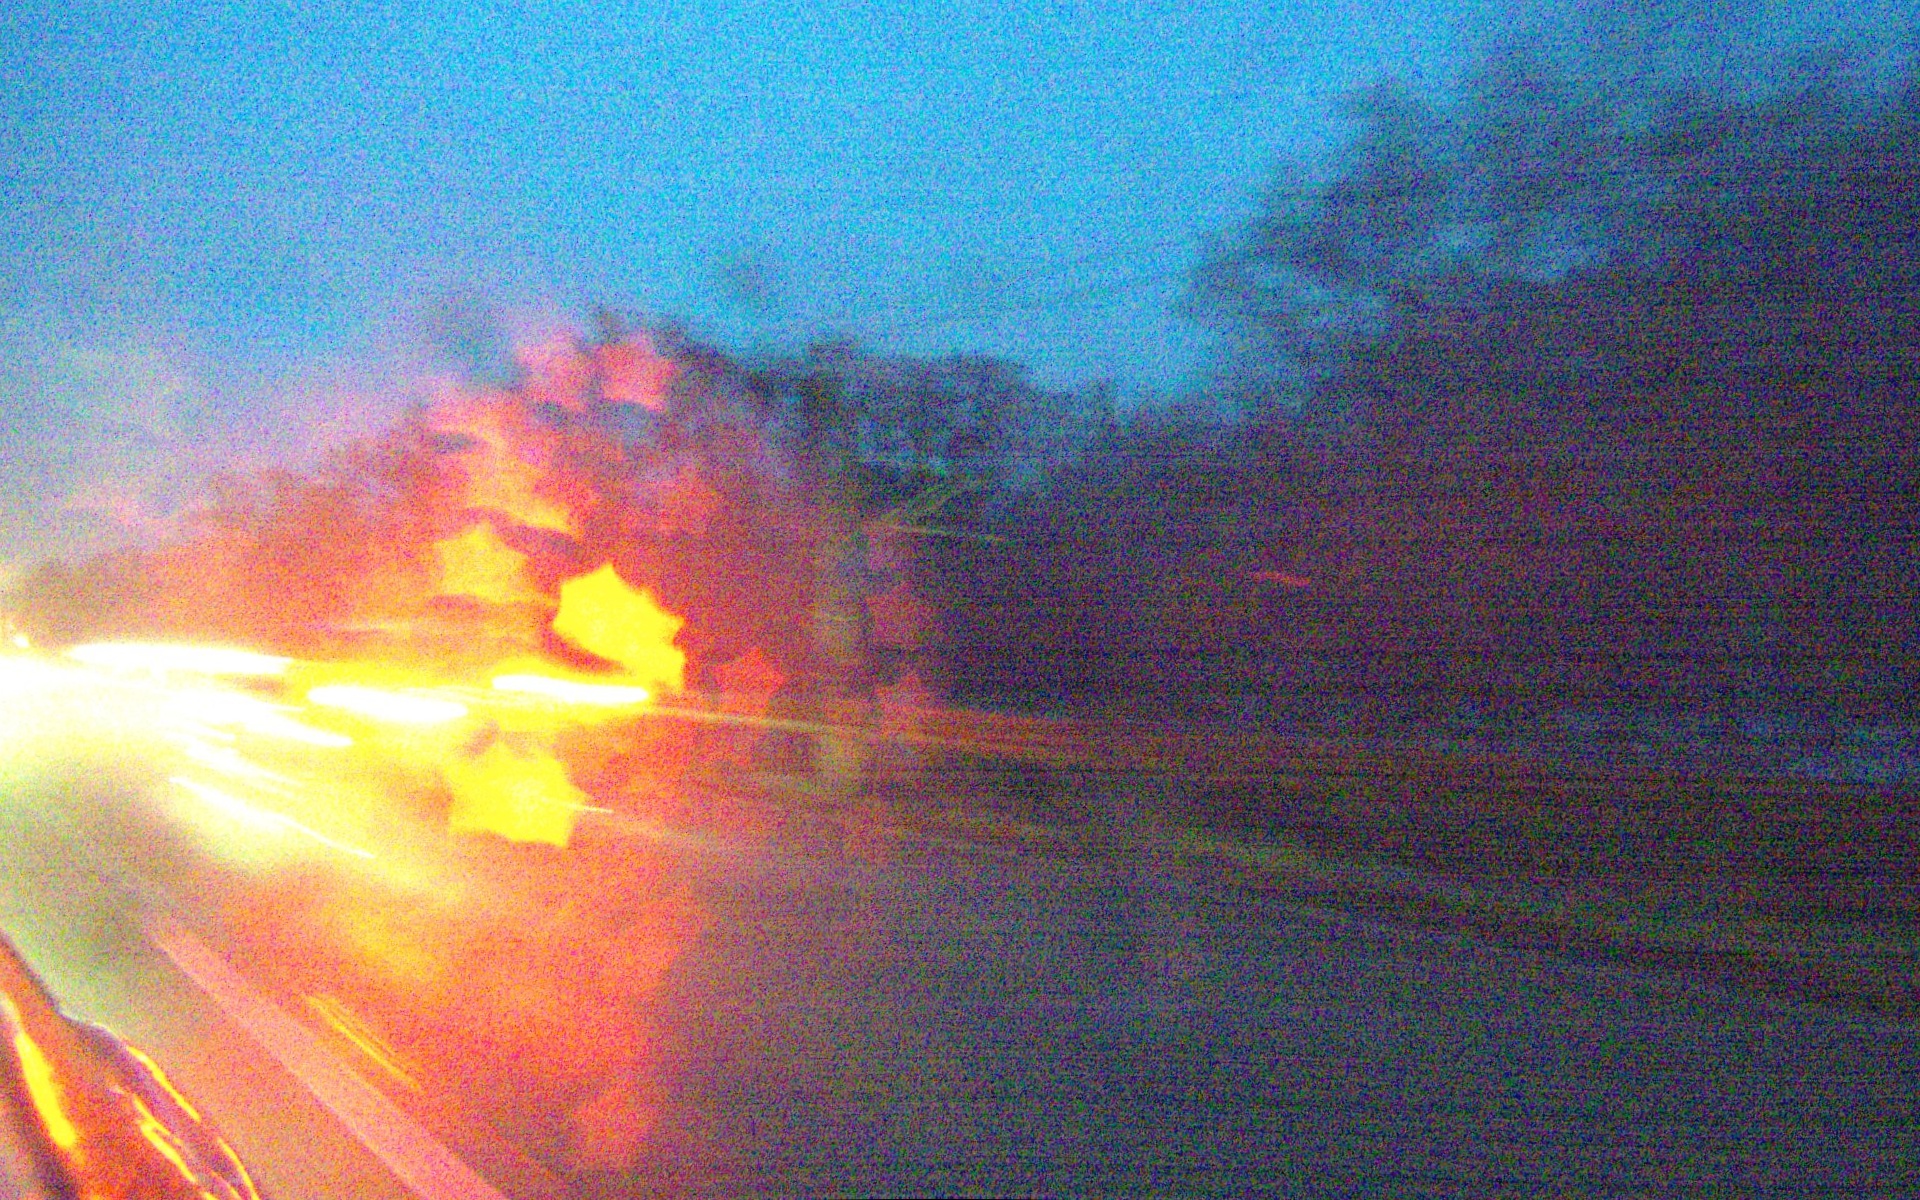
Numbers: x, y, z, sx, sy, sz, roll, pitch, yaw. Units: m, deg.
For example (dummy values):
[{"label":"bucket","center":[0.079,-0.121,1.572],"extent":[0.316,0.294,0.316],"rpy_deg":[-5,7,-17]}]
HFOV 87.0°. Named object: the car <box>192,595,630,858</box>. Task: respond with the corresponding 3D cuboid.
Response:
[{"label":"car","center":[-4.238,0.792,7.601],"extent":[3.705,1.482,1.698],"rpy_deg":[-2,-3,41]}]
